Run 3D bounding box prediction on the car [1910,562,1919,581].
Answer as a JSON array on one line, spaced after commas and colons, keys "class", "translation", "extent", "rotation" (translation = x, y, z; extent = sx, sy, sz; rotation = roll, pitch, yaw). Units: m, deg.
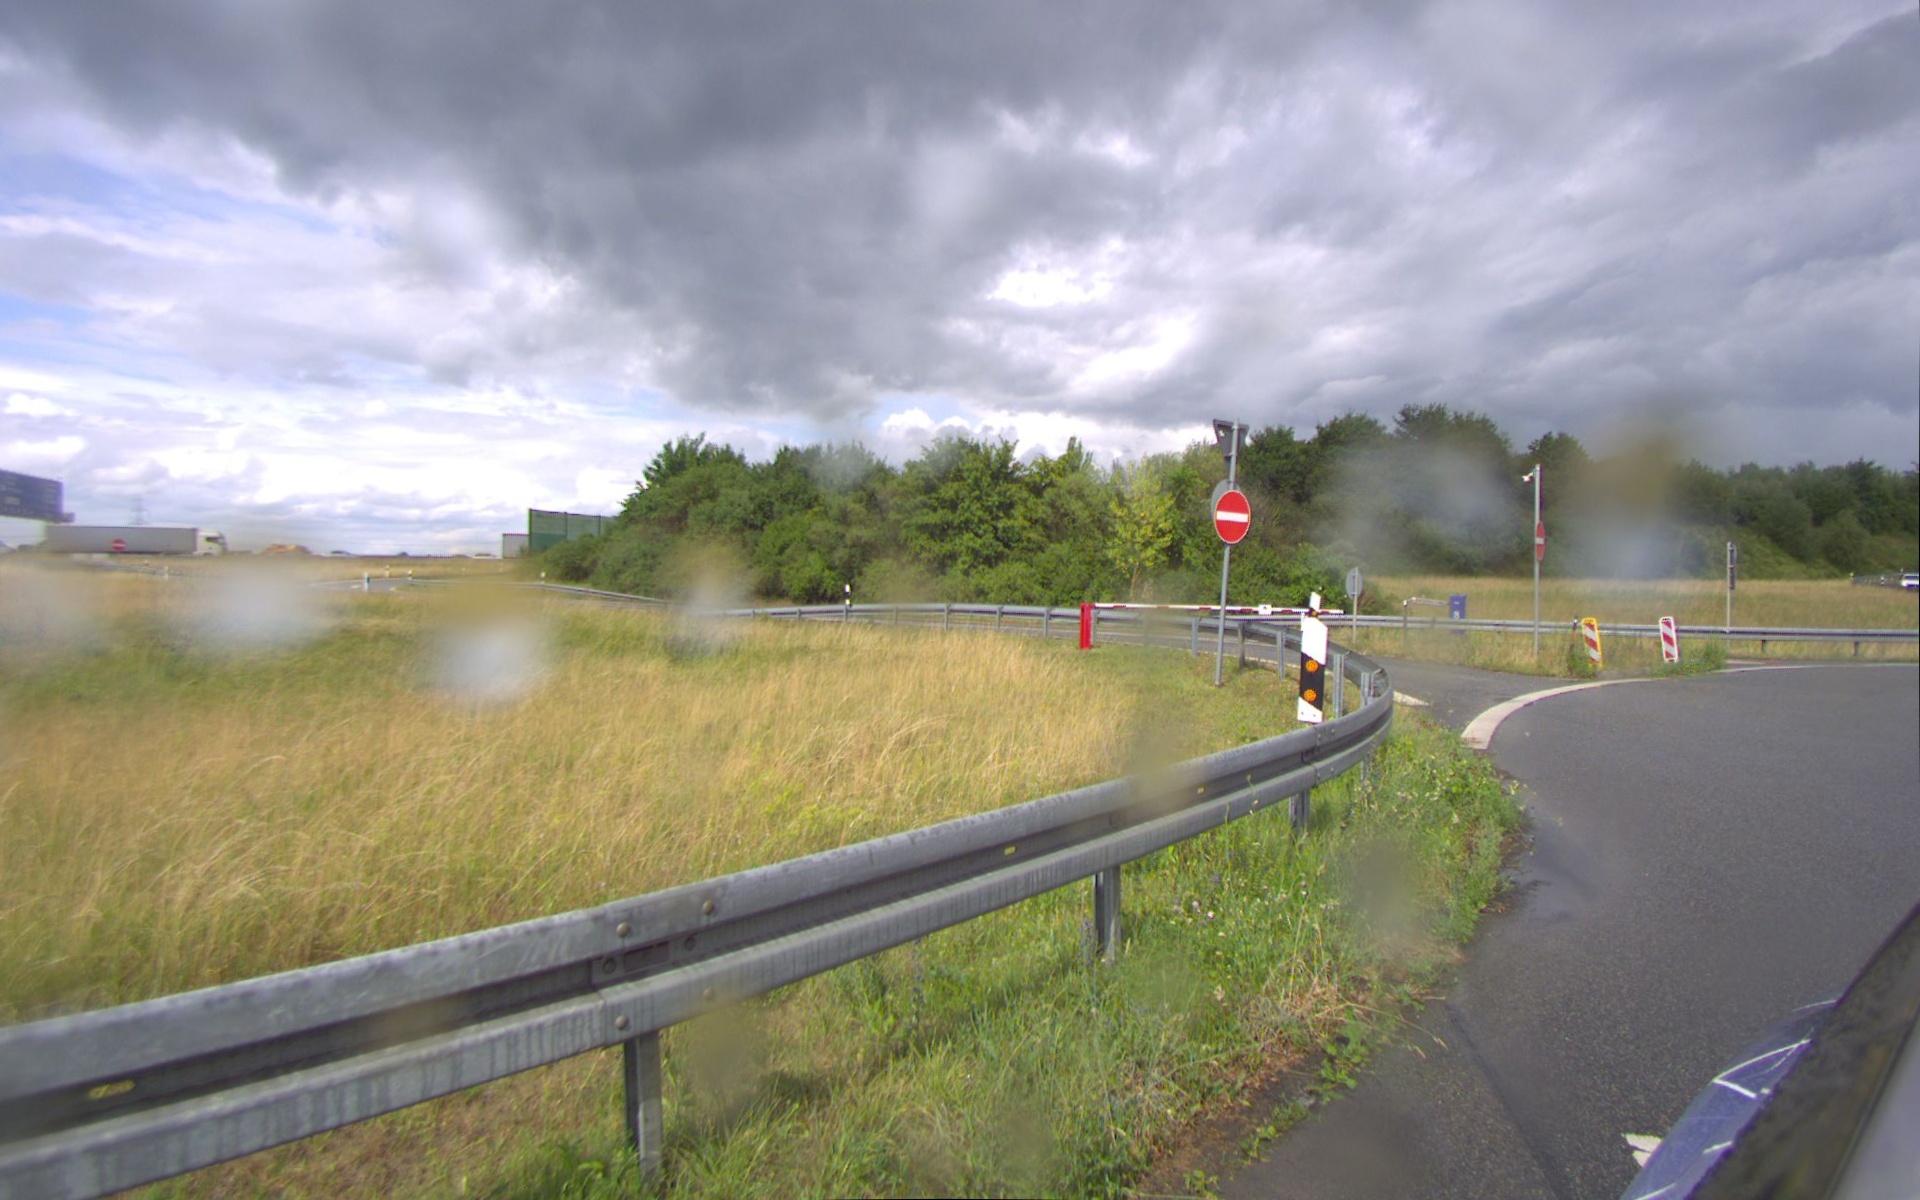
[{"class": "car", "translation": [82.173, -2.371, 85.124], "extent": [3.847, 1.556, 1.981], "rotation": [1, 2, -24]}]
